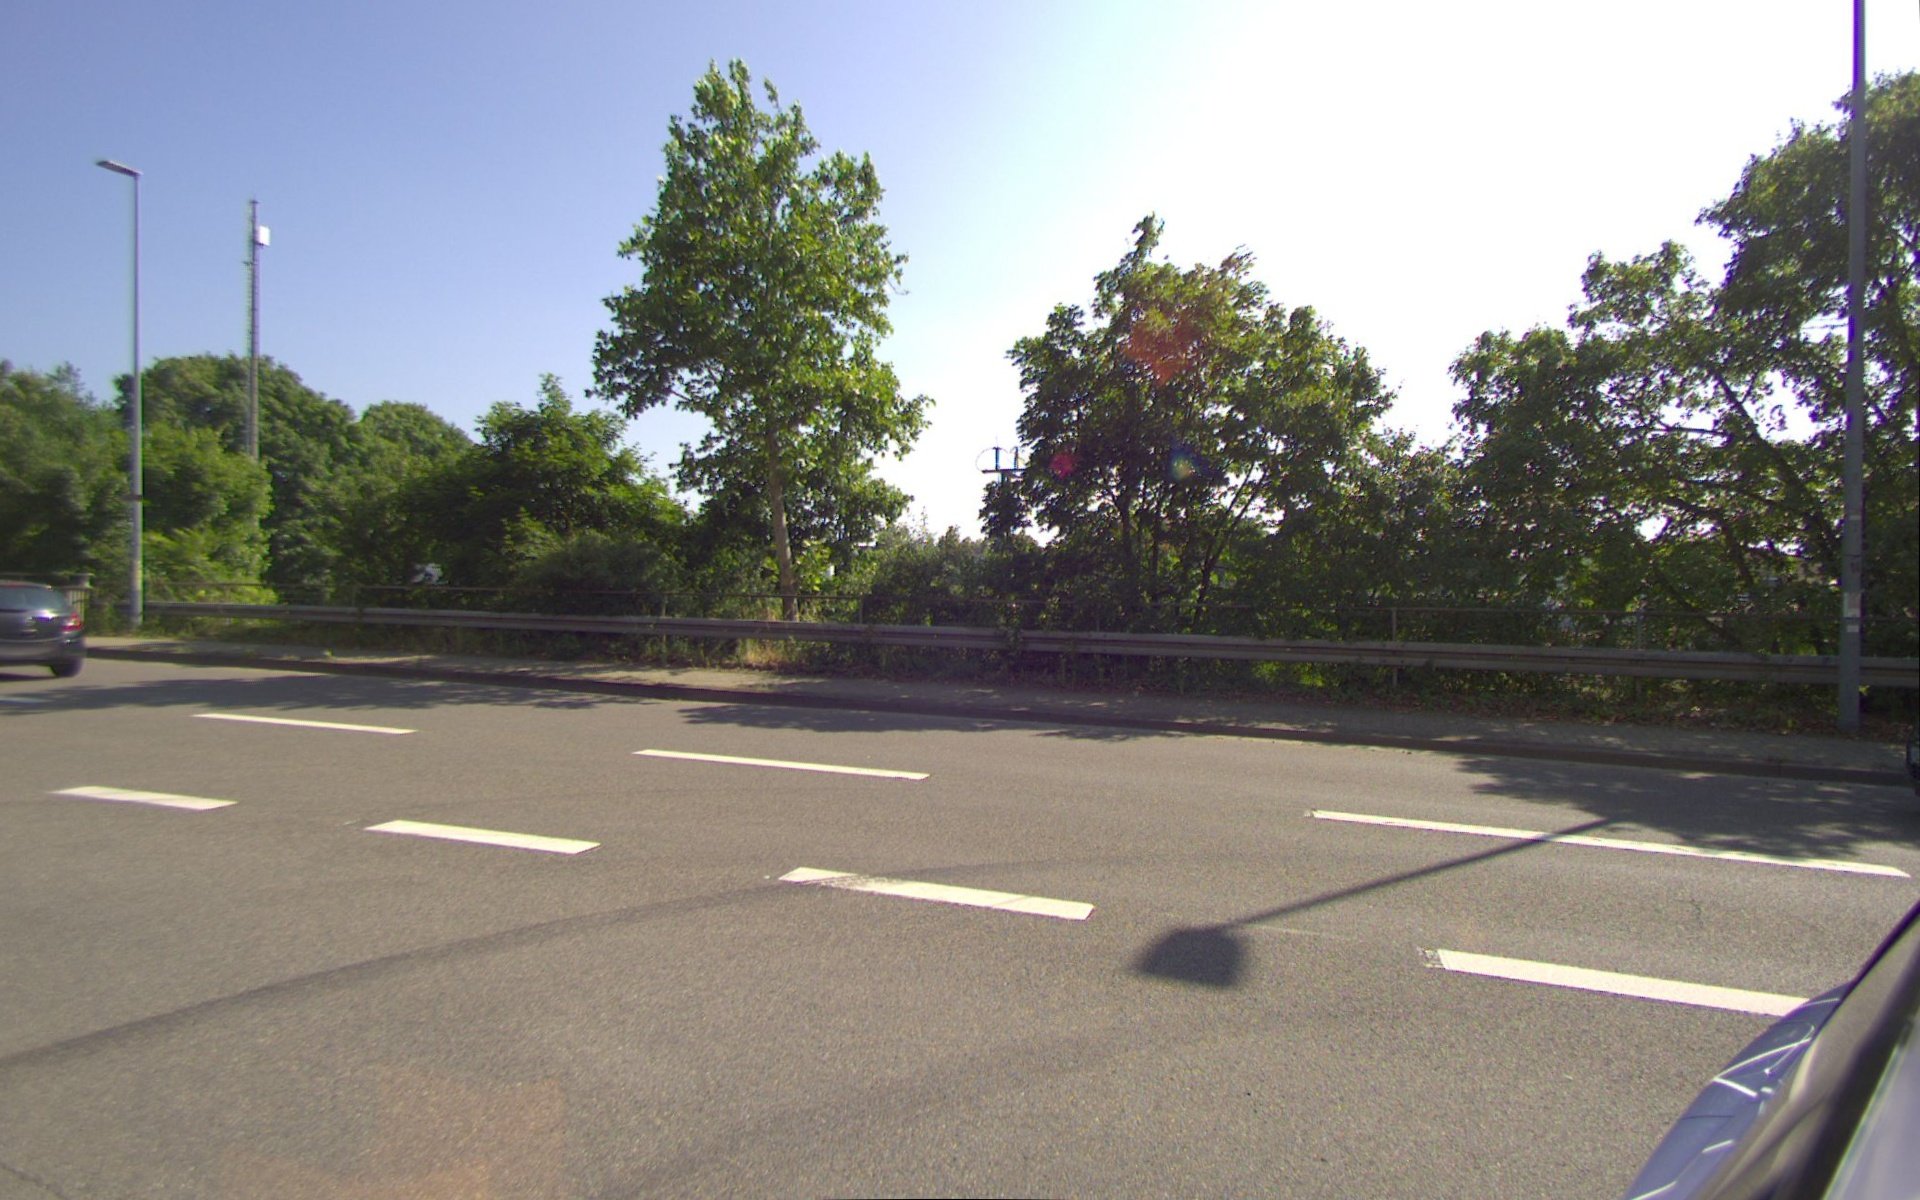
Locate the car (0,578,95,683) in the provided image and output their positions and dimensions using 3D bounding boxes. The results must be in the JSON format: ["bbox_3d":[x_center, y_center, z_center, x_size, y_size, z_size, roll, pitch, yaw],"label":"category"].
[{"bbox_3d":[-15.157,0.406,15.371,3.535,1.487,1.669,1,1,23],"label":"car"}]

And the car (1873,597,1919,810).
[{"bbox_3d":[8.471,0.760,6.434,3.613,1.520,1.631,1,0,26],"label":"car"}]
